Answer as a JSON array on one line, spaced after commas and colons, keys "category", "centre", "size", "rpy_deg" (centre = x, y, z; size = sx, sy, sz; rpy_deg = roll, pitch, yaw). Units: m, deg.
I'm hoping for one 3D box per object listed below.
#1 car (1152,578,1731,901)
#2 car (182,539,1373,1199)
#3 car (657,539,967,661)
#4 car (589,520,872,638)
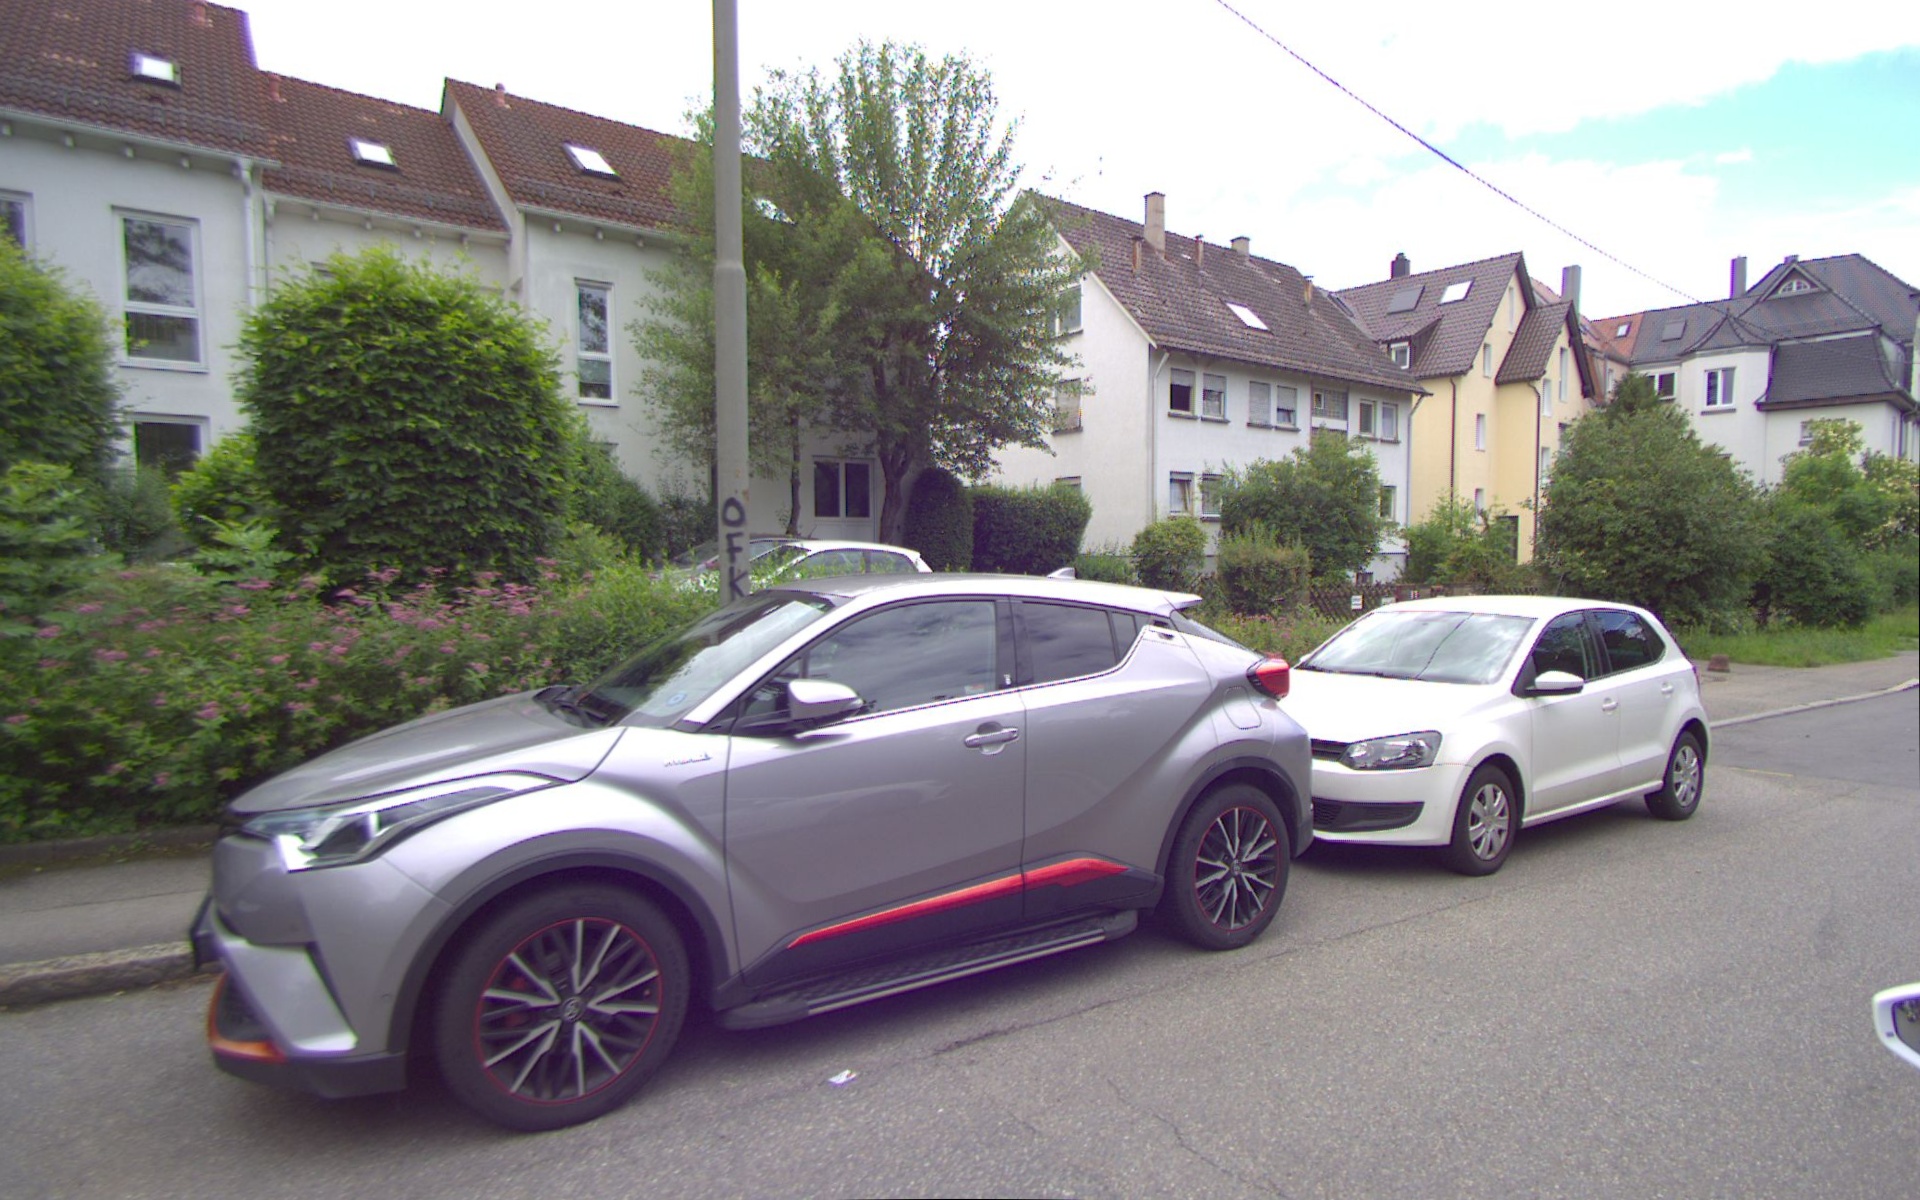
[{"category": "car", "centre": [3.209, 0.629, 6.458], "size": [3.887, 1.500, 1.612], "rpy_deg": [-1, 2, -34]}, {"category": "car", "centre": [-0.406, 0.599, 4.039], "size": [4.079, 1.500, 1.752], "rpy_deg": [0, 1, -31]}, {"category": "car", "centre": [-2.002, -0.056, 13.886], "size": [3.888, 1.477, 1.694], "rpy_deg": [-2, 1, -32]}, {"category": "car", "centre": [-3.554, -0.382, 15.715], "size": [3.957, 1.595, 1.810], "rpy_deg": [-1, 5, -34]}]
